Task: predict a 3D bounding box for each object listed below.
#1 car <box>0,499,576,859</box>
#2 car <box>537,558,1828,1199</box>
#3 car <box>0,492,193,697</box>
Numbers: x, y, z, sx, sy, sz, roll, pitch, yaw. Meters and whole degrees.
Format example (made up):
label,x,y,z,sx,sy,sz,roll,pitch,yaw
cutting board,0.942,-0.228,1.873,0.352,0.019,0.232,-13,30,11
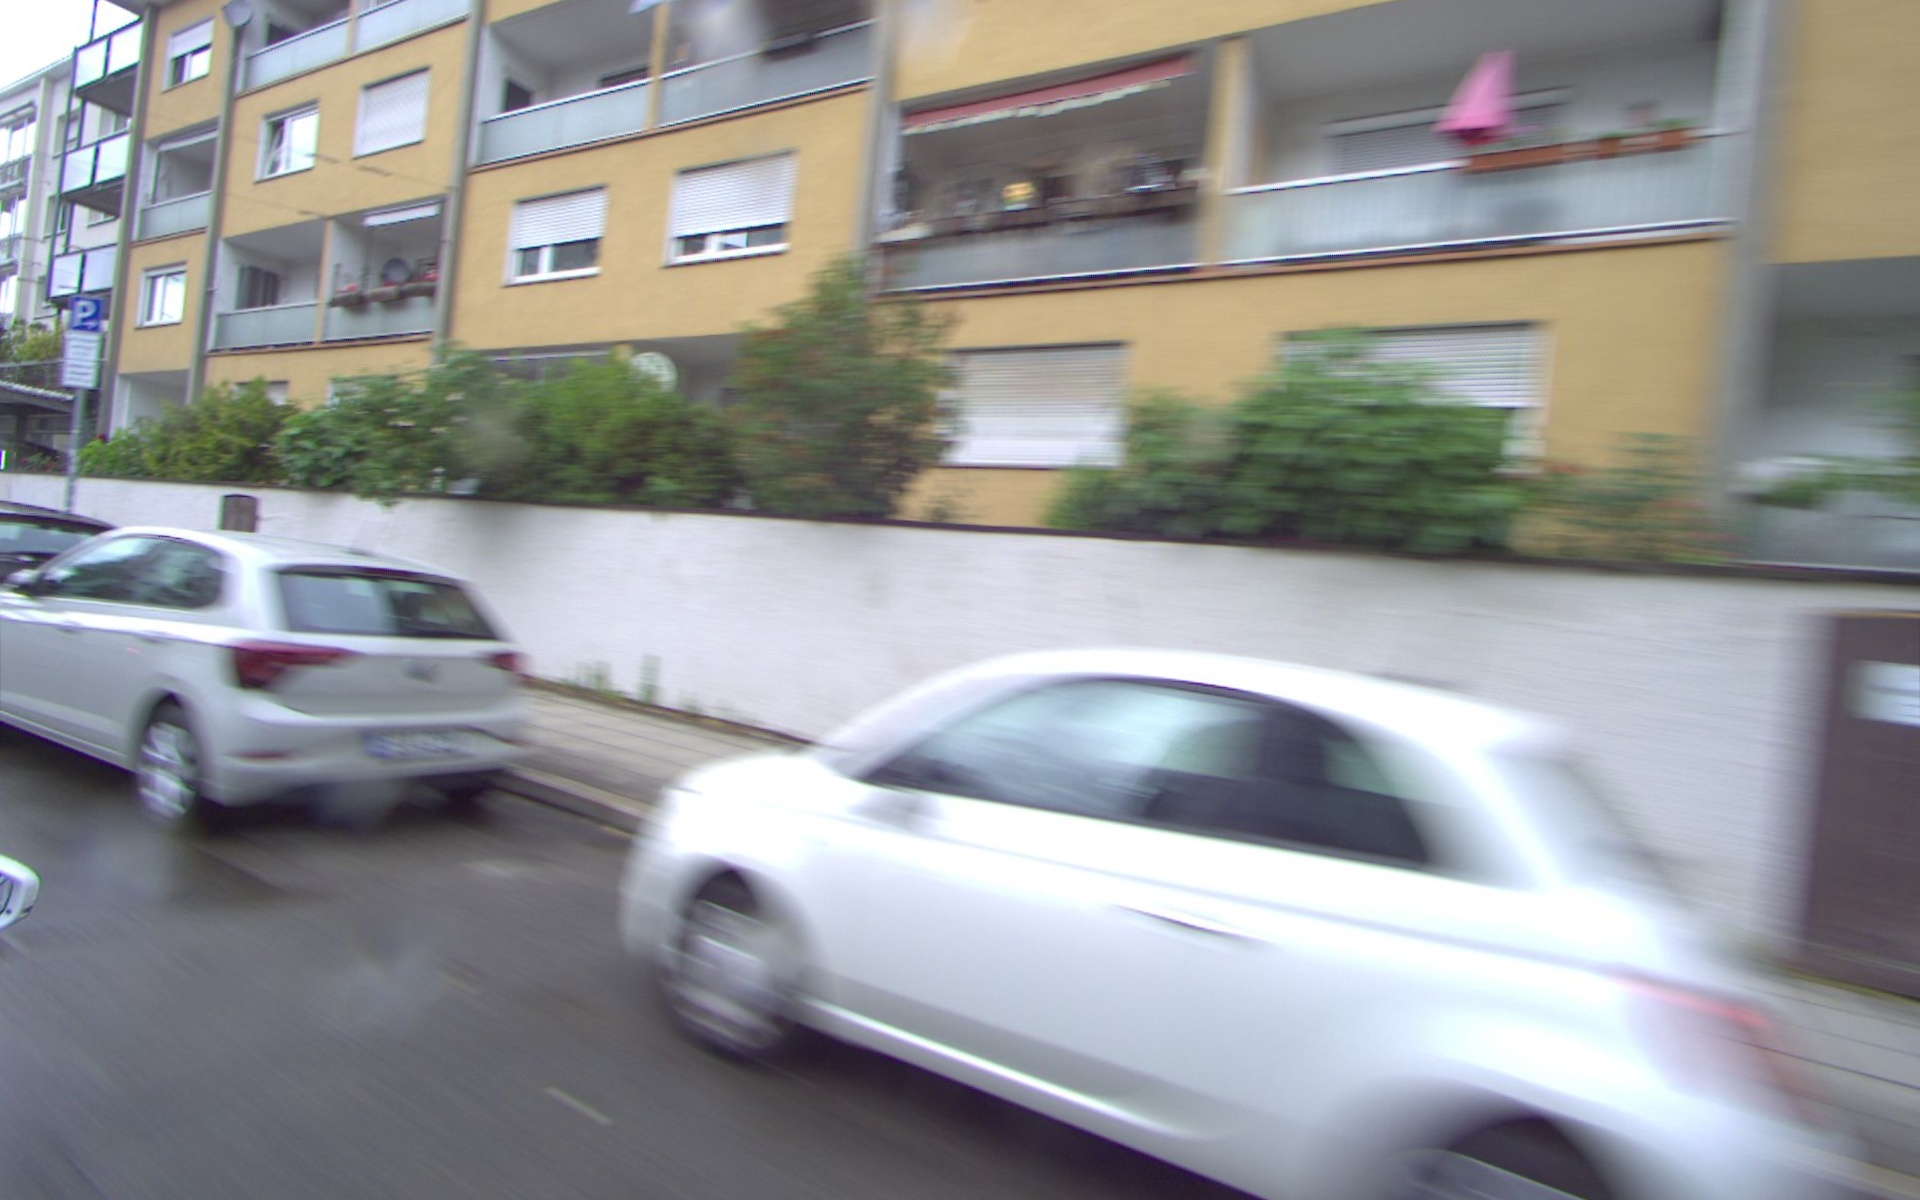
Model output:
label,x,y,z,sx,sy,sz,roll,pitch,yaw
car,-4.430,0.300,6.031,4.032,1.476,1.651,5,-2,29
car,0.463,0.784,3.488,3.494,1.470,1.689,5,-2,30
car,-8.765,-0.248,8.716,4.402,1.477,1.734,7,-1,31
